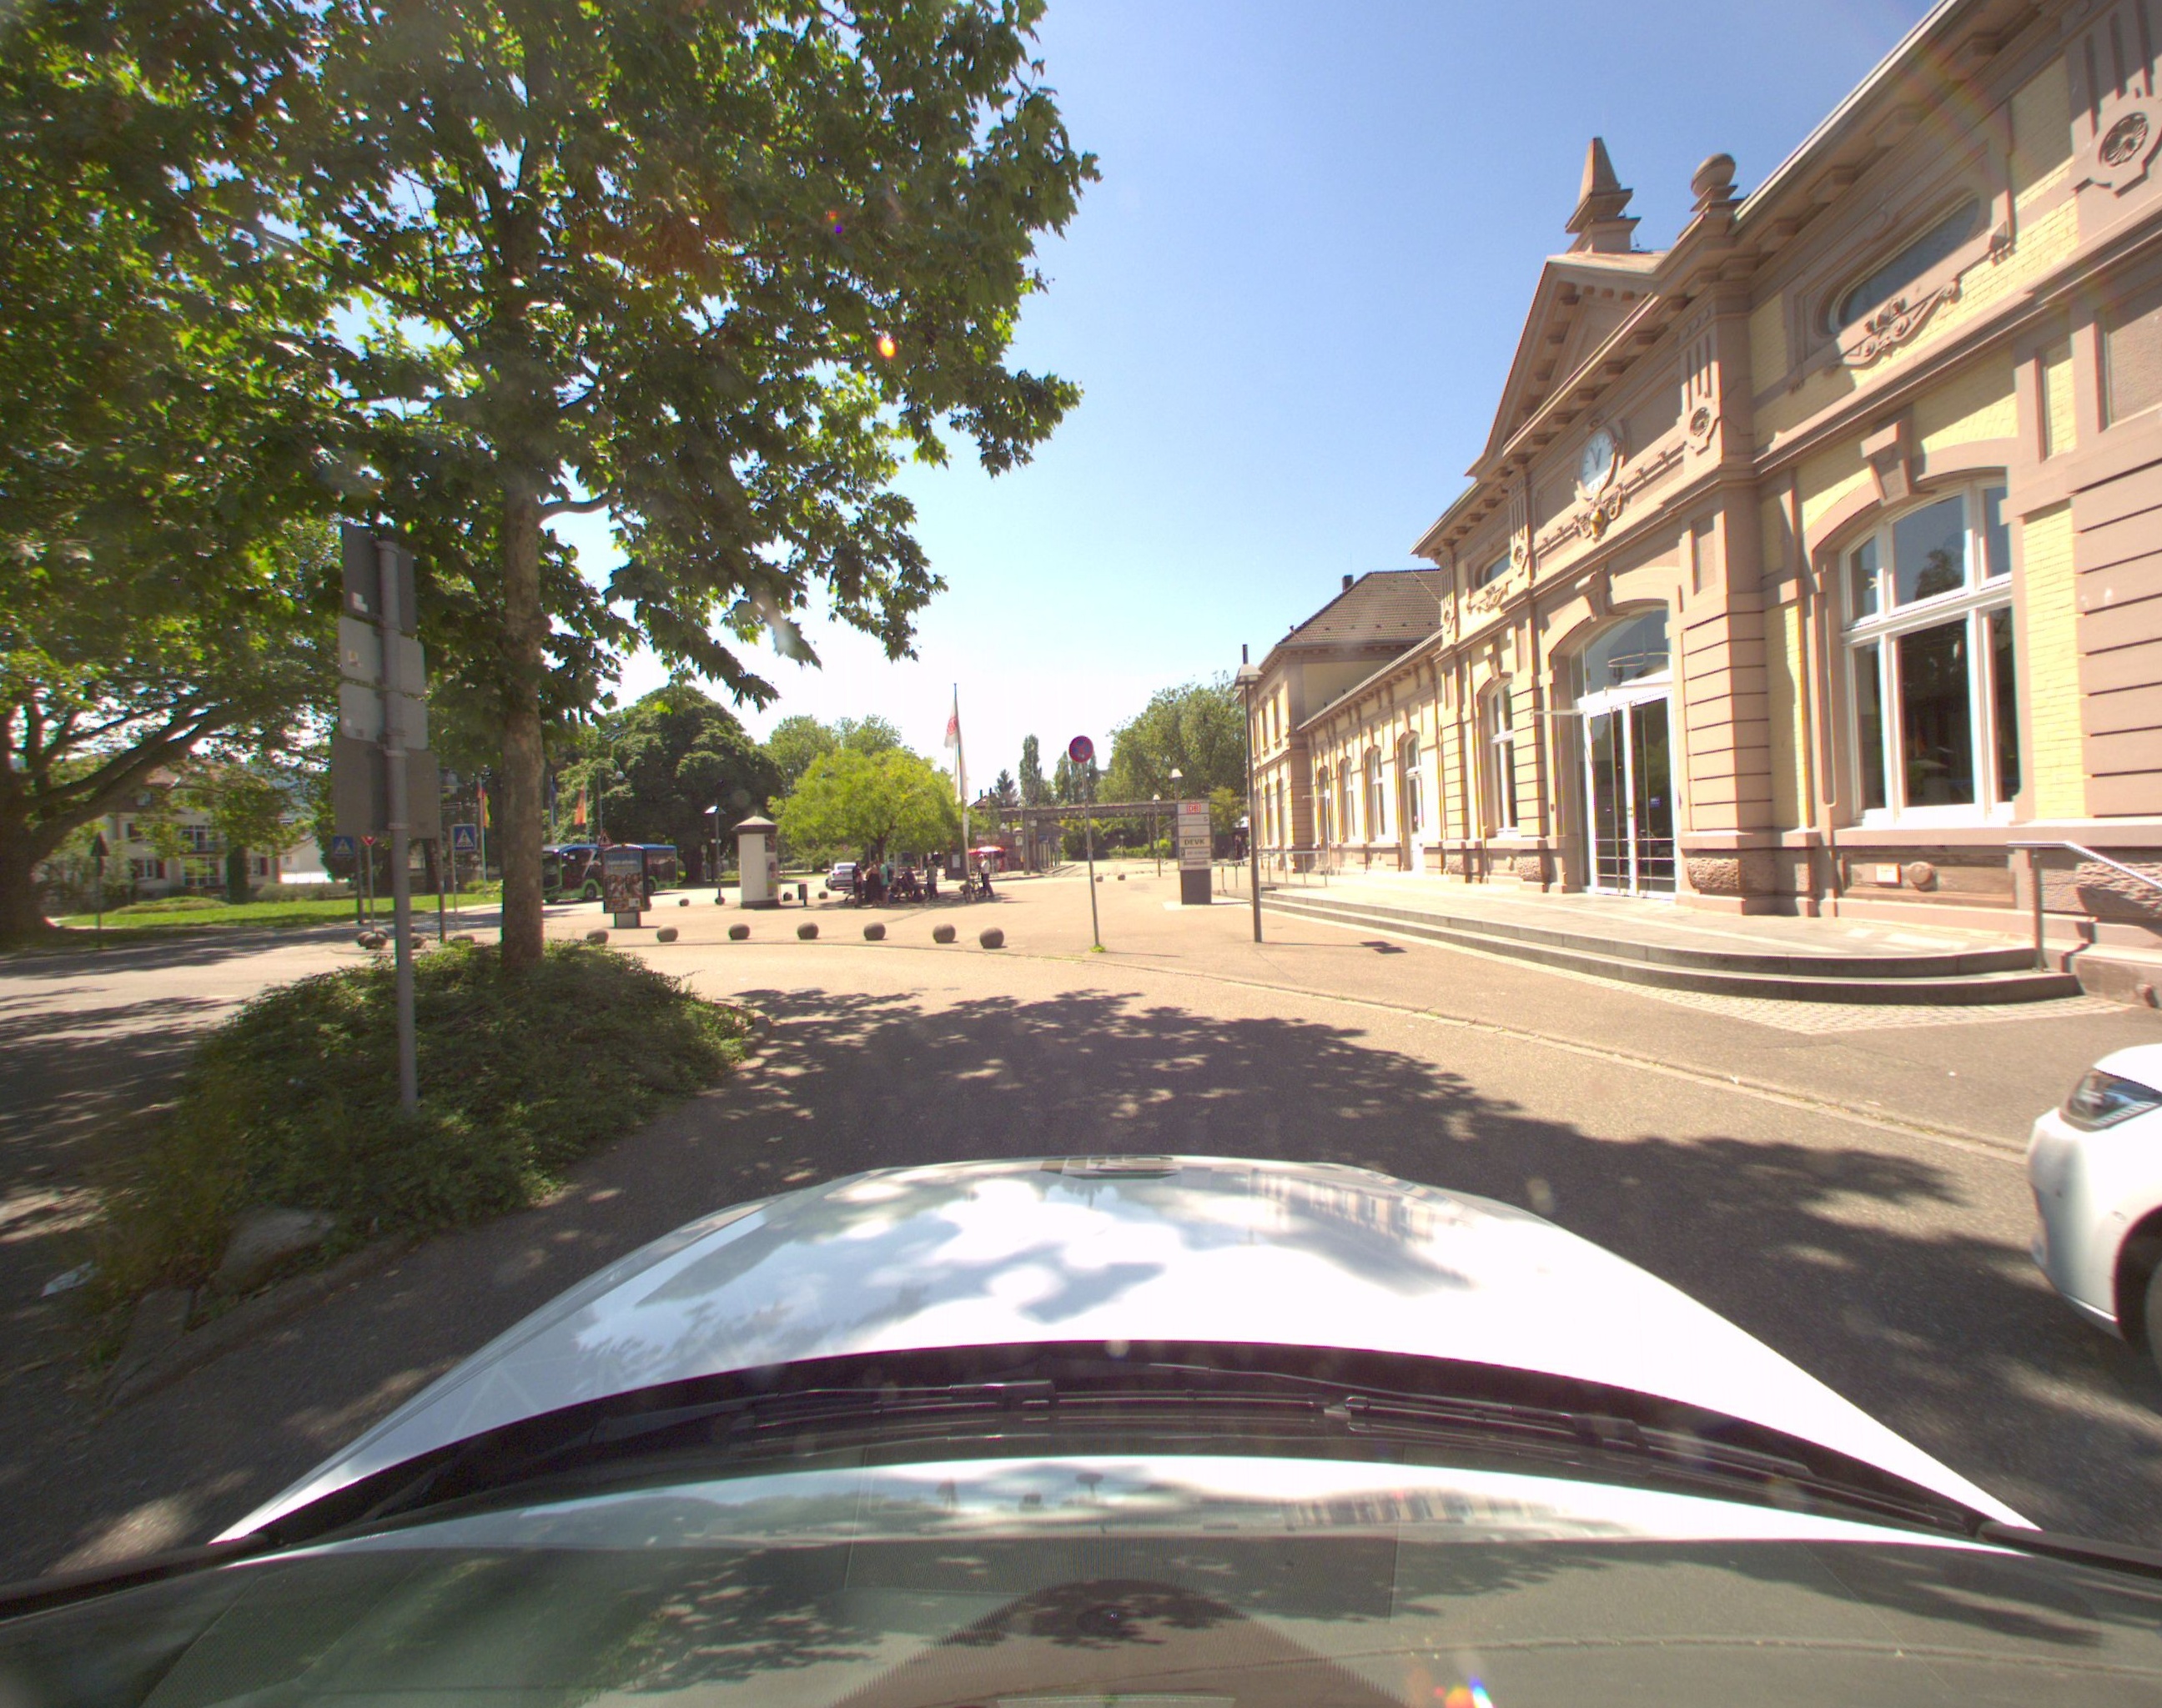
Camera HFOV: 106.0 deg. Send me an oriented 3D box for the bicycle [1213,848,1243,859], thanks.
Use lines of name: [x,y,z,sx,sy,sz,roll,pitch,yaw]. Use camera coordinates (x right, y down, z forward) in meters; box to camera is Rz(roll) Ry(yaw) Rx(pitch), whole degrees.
bicycle: [14.238,-0.022,78.863,2.777,1.004,0.811,0,-1,0]

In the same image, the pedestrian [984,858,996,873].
pedestrian: [-7.492,0.960,67.109,0.682,1.161,0.897,-2,0,7]

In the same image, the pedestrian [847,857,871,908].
pedestrian: [-8.015,1.018,29.380,0.694,1.763,0.581,-3,0,-23]

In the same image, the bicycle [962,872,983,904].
bicycle: [-3.993,1.240,30.065,0.419,1.060,1.949,-3,0,1]

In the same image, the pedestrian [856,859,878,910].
pedestrian: [-7.602,1.073,28.947,0.628,1.739,0.544,-3,0,-23]

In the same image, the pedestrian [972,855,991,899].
pedestrian: [-3.903,0.894,31.900,0.617,1.685,0.589,-3,0,-10]

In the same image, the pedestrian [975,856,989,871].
pedestrian: [-8.675,0.851,71.271,0.898,1.312,0.681,-2,0,-32]

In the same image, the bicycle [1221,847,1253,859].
bicycle: [13.973,-0.068,72.964,2.777,1.004,0.811,0,-1,0]

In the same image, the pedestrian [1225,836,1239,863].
pedestrian: [10.290,-0.293,55.523,0.682,1.809,0.635,-3,0,24]

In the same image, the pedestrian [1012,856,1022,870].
pedestrian: [-5.528,0.805,70.499,0.756,1.205,0.737,0,-1,2]

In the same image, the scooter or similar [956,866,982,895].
scooter or similar: [-4.586,1.069,33.382,1.023,1.139,0.294,-3,0,-5]

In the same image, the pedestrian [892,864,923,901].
pedestrian: [-6.729,1.091,31.504,0.915,1.386,0.935,-3,0,-27]

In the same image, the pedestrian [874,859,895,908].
pedestrian: [-7.089,1.061,29.427,0.586,1.739,0.595,-3,0,-23]

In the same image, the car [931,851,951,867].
car: [-20.417,0.682,118.893,2.198,2.173,4.874,-3,0,-4]

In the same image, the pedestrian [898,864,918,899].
pedestrian: [-6.959,1.106,32.703,0.600,1.364,0.595,-3,0,-26]

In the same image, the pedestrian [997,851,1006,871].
pedestrian: [-7.277,0.635,74.581,0.683,1.737,0.708,-2,0,2]

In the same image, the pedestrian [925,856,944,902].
pedestrian: [-5.654,0.945,31.340,0.513,1.739,0.566,-3,0,-27]

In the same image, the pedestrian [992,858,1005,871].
pedestrian: [-7.220,0.914,71.120,0.898,1.161,0.681,-3,0,-32]

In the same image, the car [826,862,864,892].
car: [-14.436,1.377,50.041,1.985,1.627,4.756,-3,0,-14]

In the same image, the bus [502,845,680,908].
bus: [-29.233,1.144,49.719,2.797,3.282,12.433,-2,0,3]

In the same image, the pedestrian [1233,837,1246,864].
pedestrian: [10.606,-0.224,54.471,0.624,1.809,0.599,-3,0,23]

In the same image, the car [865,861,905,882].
car: [-16.179,1.404,67.548,1.919,1.460,4.727,-5,0,2]

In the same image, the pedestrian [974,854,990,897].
pedestrian: [-3.974,0.844,32.635,0.553,1.685,0.585,-3,0,-10]

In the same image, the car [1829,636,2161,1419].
car: [3.450,0.425,0.214,1.803,1.865,5.139,-2,1,0]
